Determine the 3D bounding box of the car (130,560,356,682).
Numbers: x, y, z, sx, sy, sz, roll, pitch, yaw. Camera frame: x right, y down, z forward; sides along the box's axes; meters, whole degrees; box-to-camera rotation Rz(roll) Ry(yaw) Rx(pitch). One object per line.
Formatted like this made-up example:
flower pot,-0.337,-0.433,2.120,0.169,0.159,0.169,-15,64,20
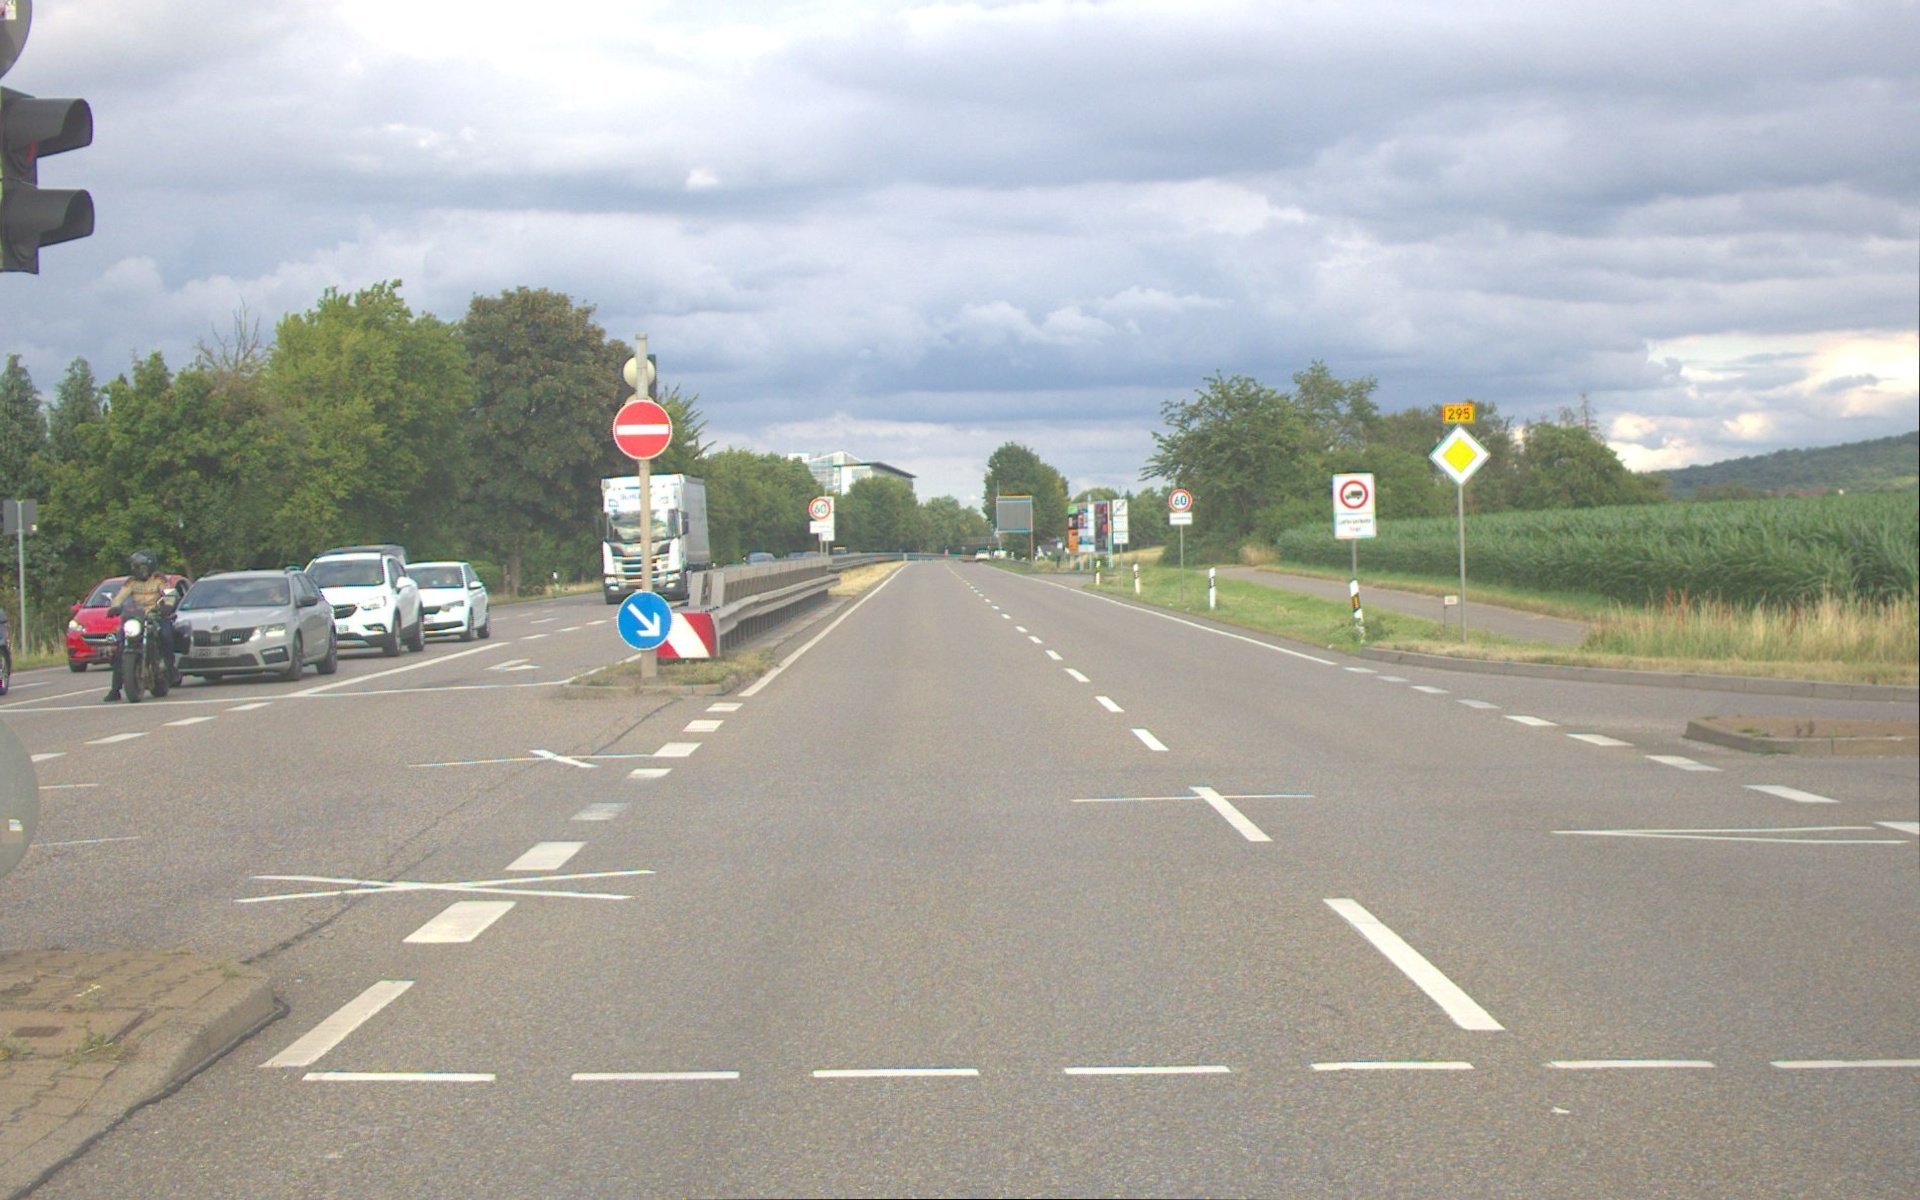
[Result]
car,-9.341,0.232,45.195,1.907,1.423,5.152,-2,1,-1

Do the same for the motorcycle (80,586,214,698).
motorcycle,-9.355,0.464,39.645,0.916,1.199,2.479,-2,1,0

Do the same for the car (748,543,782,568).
car,-11.376,-2.620,200.864,1.789,1.381,4.161,-2,1,-1

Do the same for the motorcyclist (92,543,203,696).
motorcyclist,-9.354,0.214,39.640,0.916,1.703,1.276,-2,0,0

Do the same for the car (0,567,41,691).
car,-12.995,0.406,42.591,1.907,1.530,4.939,-2,1,-1

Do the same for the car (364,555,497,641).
car,-9.617,-0.061,62.729,1.789,1.439,4.161,-2,1,-1

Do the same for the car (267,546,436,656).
car,-9.595,-0.021,54.519,1.907,1.604,4.405,-2,1,-1

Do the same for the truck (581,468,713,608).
truck,-9.844,-1.960,108.810,3.474,4.136,6.050,-3,1,0

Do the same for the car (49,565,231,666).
car,-13.001,0.215,54.760,1.907,1.460,4.184,-2,1,-1
